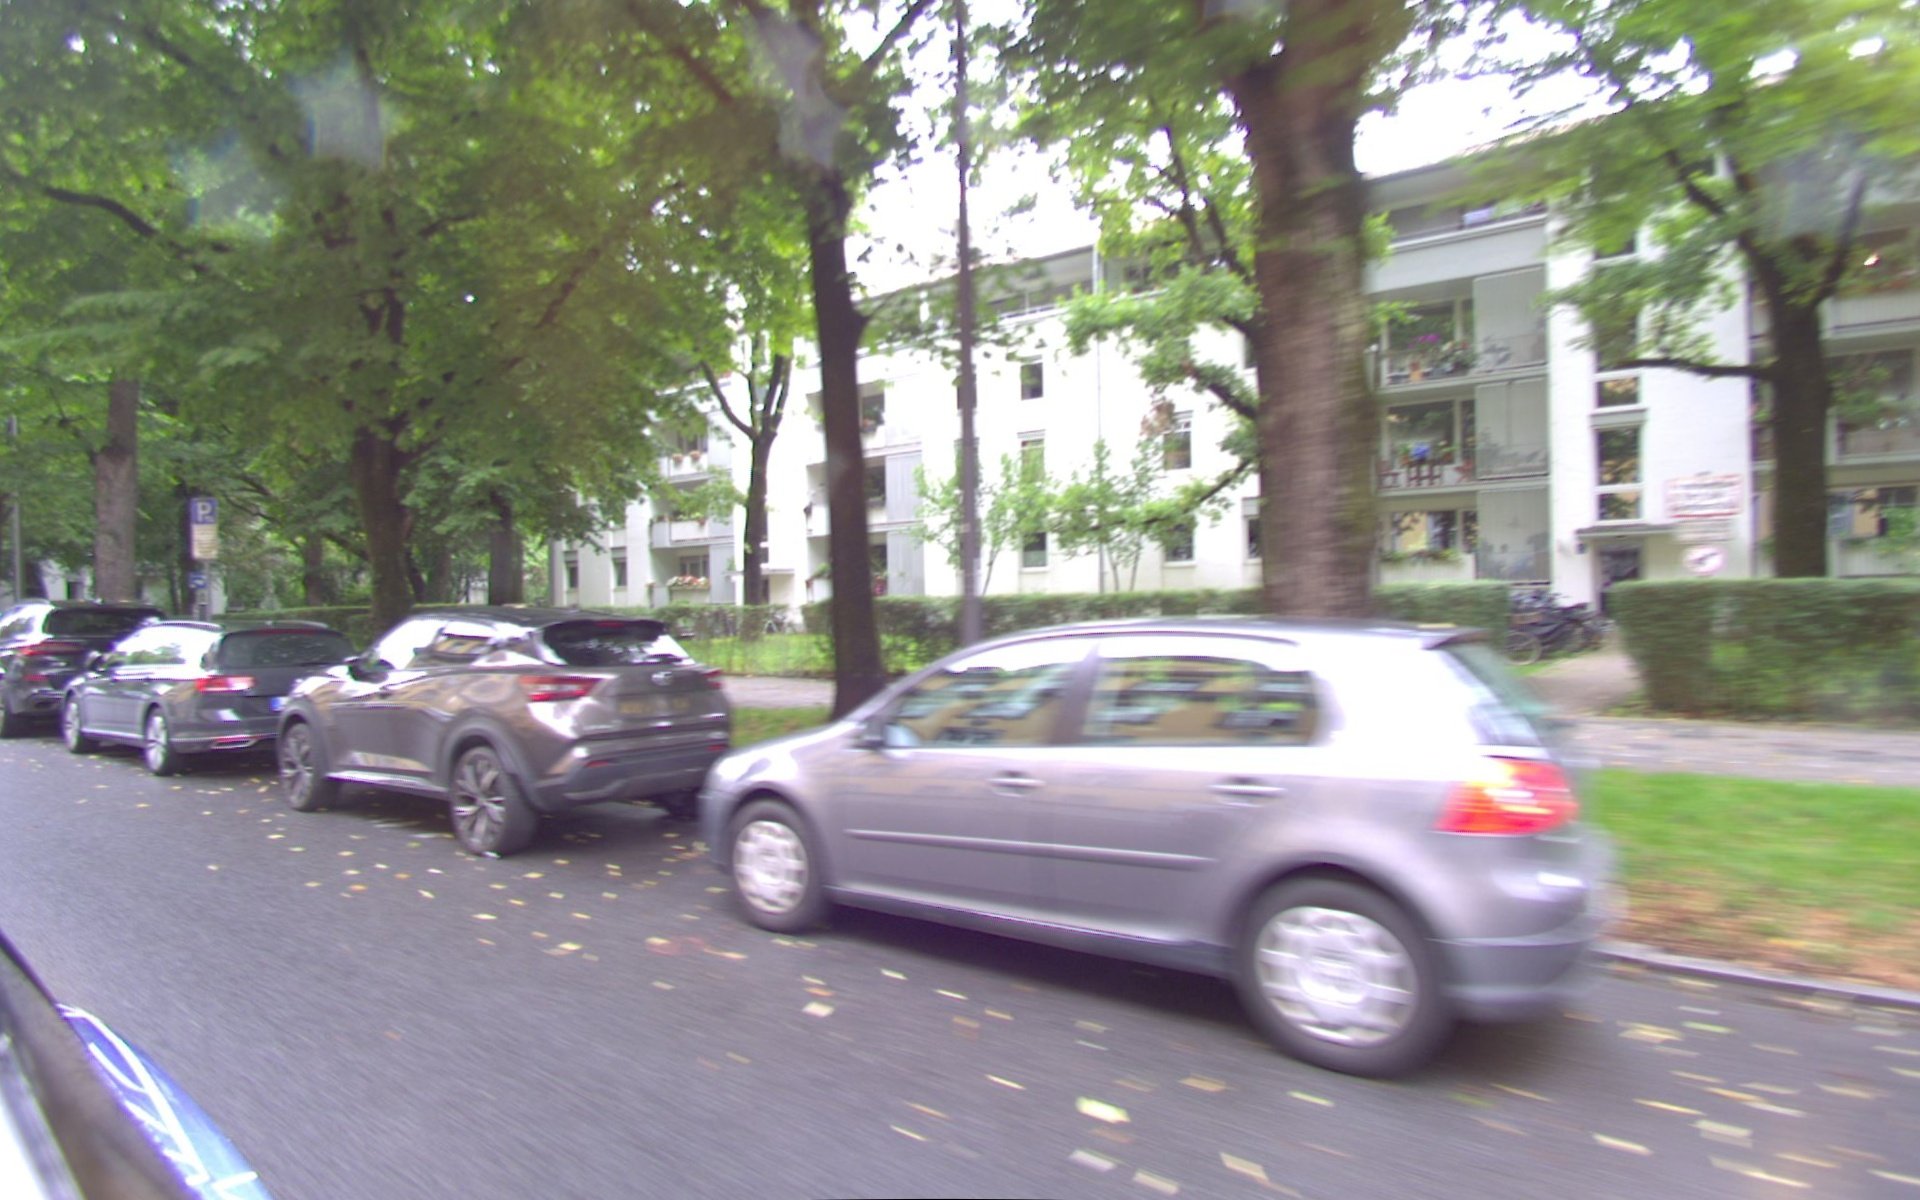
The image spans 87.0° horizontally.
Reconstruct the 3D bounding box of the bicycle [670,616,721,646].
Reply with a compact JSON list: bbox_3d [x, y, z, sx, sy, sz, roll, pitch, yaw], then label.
[{"bbox_3d":[-9.553,1.124,36.584,1.896,1.045,0.635,-2,0,32],"label":"bicycle"}]

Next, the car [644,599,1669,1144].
[{"bbox_3d":[0.614,0.758,4.614,4.241,1.433,1.712,-1,-1,35],"label":"car"}]

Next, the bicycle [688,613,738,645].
[{"bbox_3d":[-9.056,1.072,37.061,1.896,1.116,0.635,-2,0,32],"label":"bicycle"}]

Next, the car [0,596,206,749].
[{"bbox_3d":[-12.659,0.906,14.247,4.912,1.811,1.975,-1,-2,37],"label":"car"}]

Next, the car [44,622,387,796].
[{"bbox_3d":[-8.122,0.991,10.874,4.687,1.462,1.703,-1,0,37],"label":"car"}]

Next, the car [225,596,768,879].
[{"bbox_3d":[-3.679,0.831,7.720,4.476,1.586,1.770,-1,-2,35],"label":"car"}]

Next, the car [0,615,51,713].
[{"bbox_3d":[-18.002,1.083,18.092,4.515,1.634,1.749,-1,-3,37],"label":"car"}]
